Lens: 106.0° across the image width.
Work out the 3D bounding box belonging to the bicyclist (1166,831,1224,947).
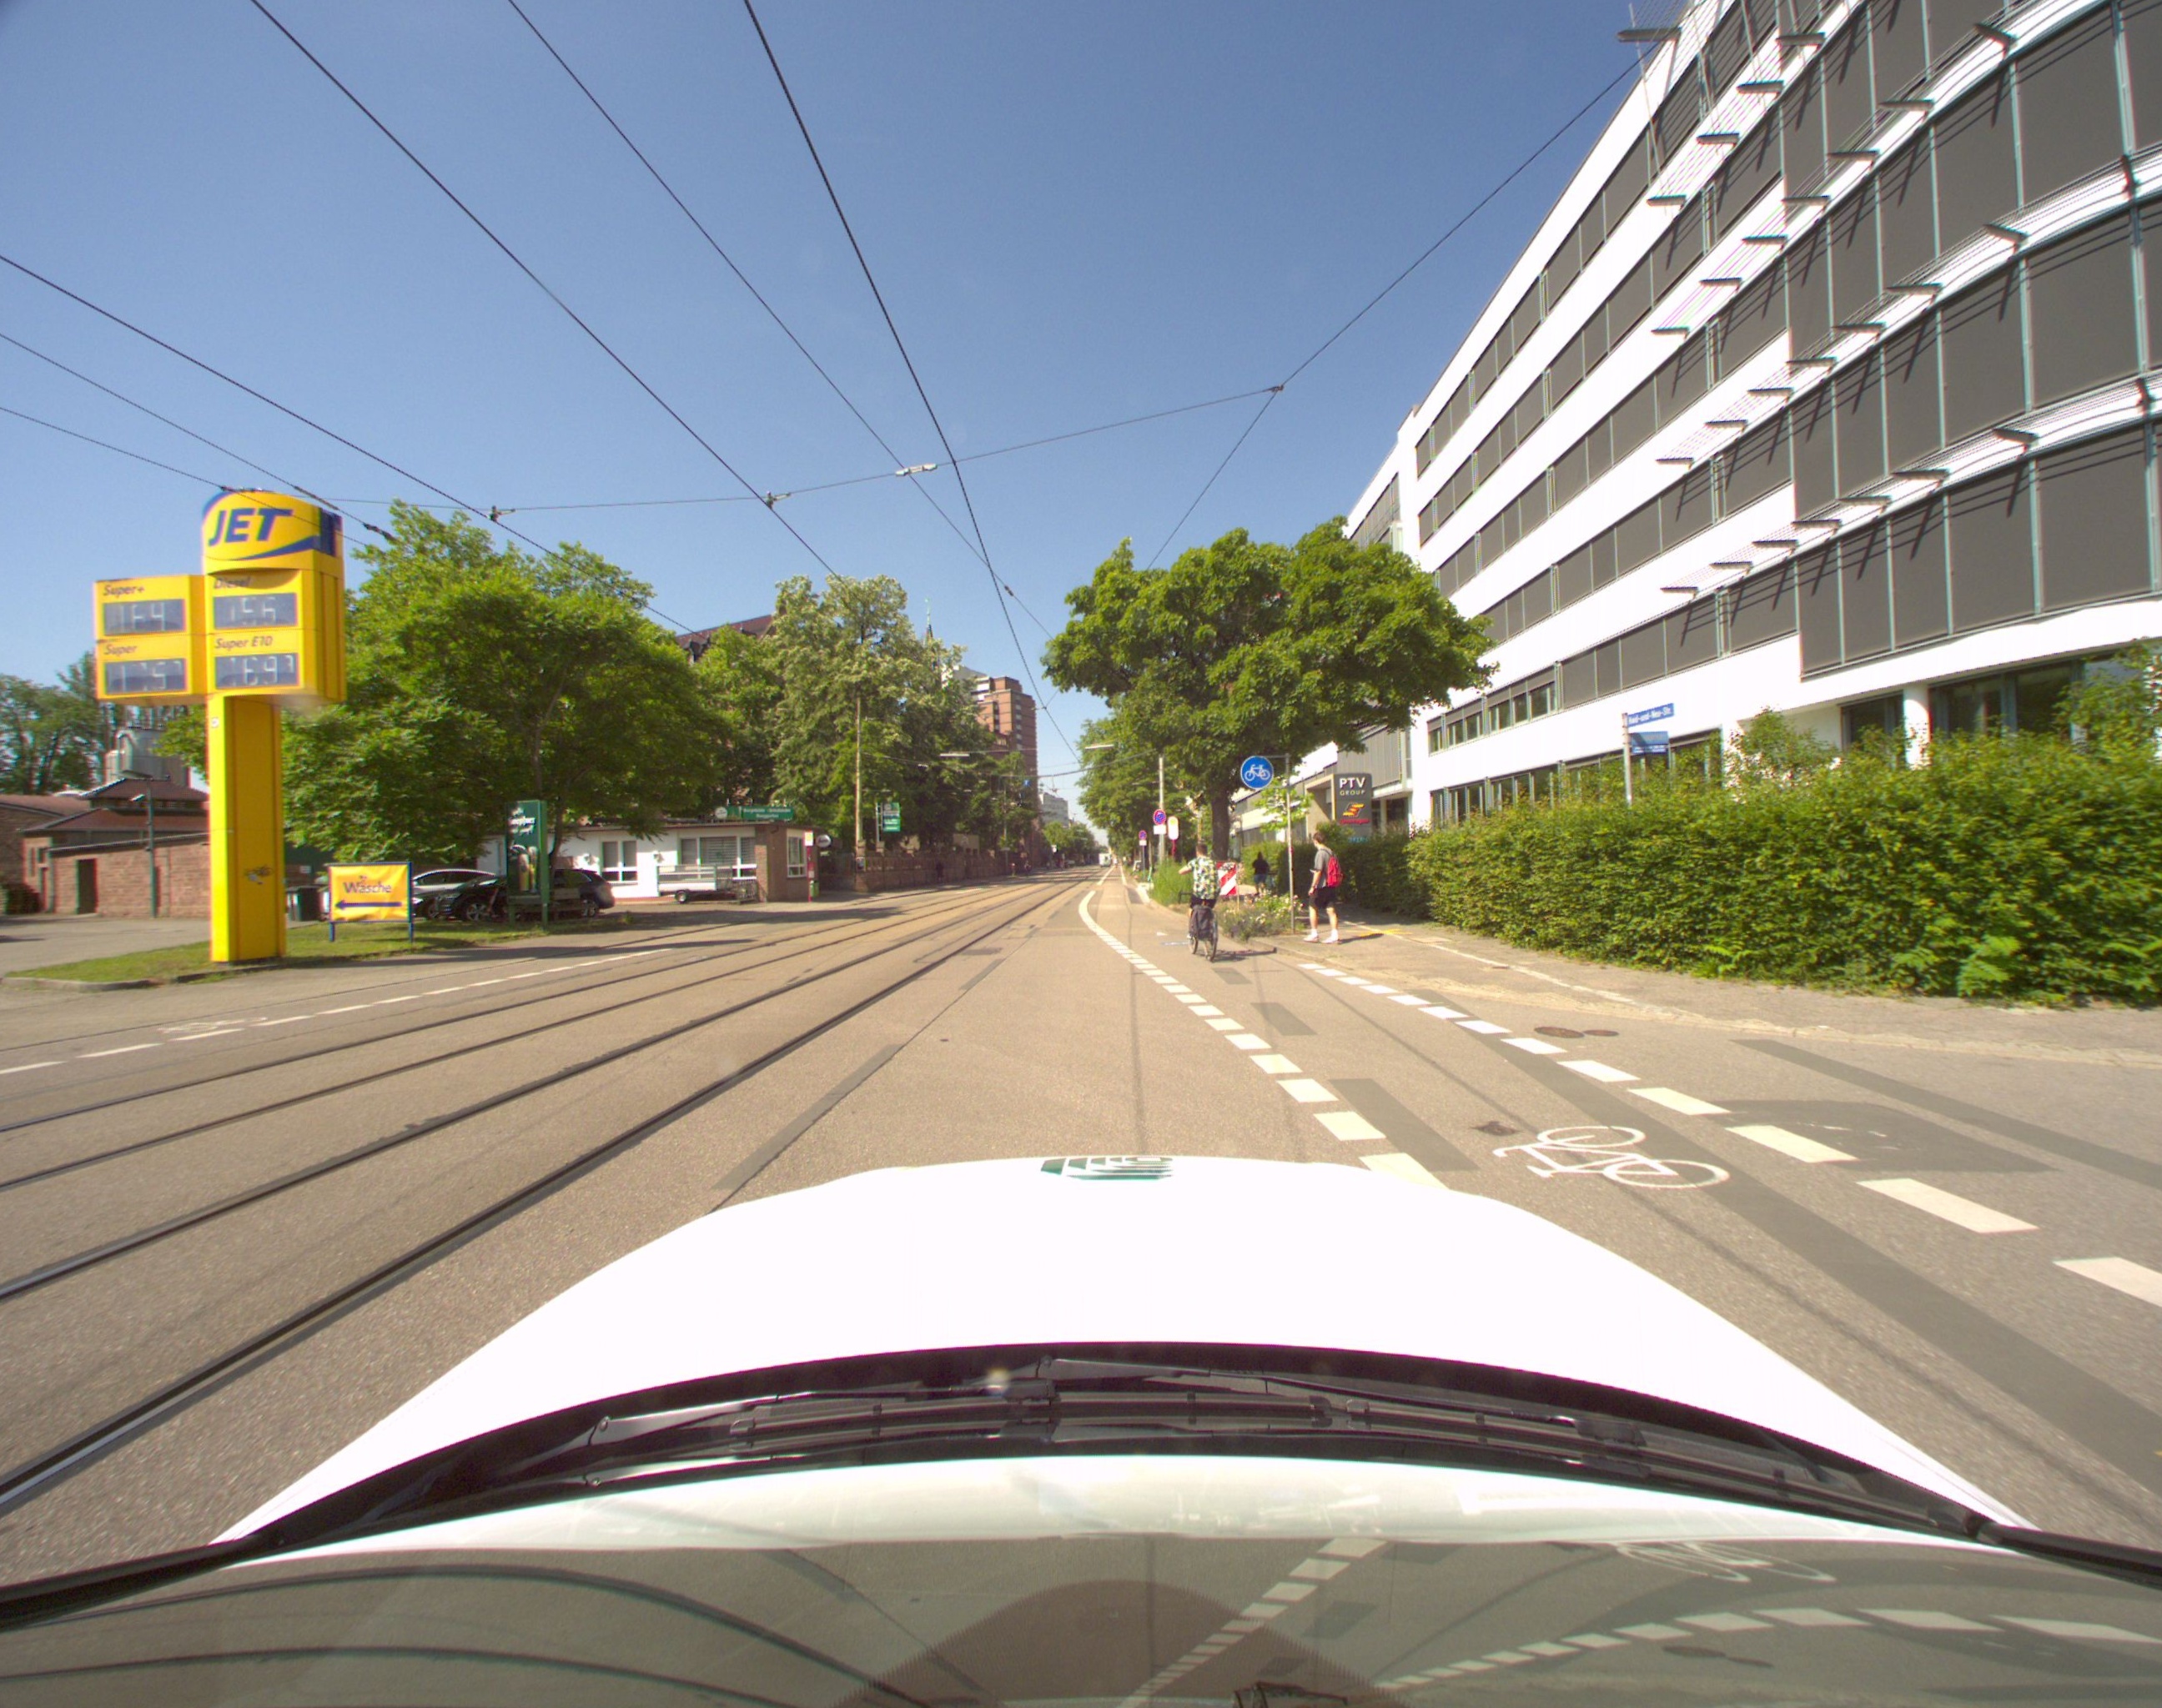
[{"bbox_3d":[1.753,0.525,12.637,0.714,1.724,0.988,-2,-1,0],"label":"bicyclist"}]

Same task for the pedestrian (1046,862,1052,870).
[{"bbox_3d":[-5.861,2.240,150.315,0.882,1.512,1.472,-2,-1,-6],"label":"pedestrian"}]

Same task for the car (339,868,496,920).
[{"bbox_3d":[-22.627,1.305,27.850,4.023,1.557,1.824,-1,-1,-44],"label":"car"}]

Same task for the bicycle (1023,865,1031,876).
[{"bbox_3d":[-5.809,1.754,87.665,0.589,1.105,2.055,-2,0,3],"label":"bicycle"}]

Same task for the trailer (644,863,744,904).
[{"bbox_3d":[-16.035,1.201,33.838,3.260,1.603,1.725,-1,-1,3],"label":"trailer"}]

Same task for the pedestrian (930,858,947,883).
[{"bbox_3d":[-10.632,1.251,60.903,0.972,1.816,1.185,-2,-1,2],"label":"pedestrian"}]

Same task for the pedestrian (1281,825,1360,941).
[{"bbox_3d":[3.936,0.458,13.485,0.888,1.818,1.071,-1,-1,-5],"label":"pedestrian"}]

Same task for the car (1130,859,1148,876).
[{"bbox_3d":[5.463,1.251,76.493,1.623,1.472,3.633,-2,0,3],"label":"car"}]

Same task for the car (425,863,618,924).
[{"bbox_3d":[-17.393,1.161,25.483,4.686,1.641,1.995,-1,-1,-44],"label":"car"}]

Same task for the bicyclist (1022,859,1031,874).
[{"bbox_3d":[-5.862,1.350,87.755,0.737,1.531,0.948,-2,-1,2],"label":"bicyclist"}]

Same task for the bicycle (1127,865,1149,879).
[{"bbox_3d":[4.961,1.590,71.226,1.842,1.132,0.680,-2,-1,1],"label":"bicycle"}]

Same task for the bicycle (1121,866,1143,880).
[{"bbox_3d":[4.122,1.568,66.210,1.718,1.086,0.789,-2,-1,1],"label":"bicycle"}]

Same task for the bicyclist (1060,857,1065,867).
[{"bbox_3d":[-3.281,1.453,144.447,0.722,1.698,1.147,-2,-1,2],"label":"bicyclist"}]

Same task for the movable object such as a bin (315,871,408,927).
[{"bbox_3d":[-20.706,1.283,23.474,1.410,1.502,1.381,-2,-1,5],"label":"movable object such as a bin"}]

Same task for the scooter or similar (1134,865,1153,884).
[{"bbox_3d":[4.032,1.300,52.545,1.120,1.166,0.676,-2,-1,4],"label":"scooter or similar"}]

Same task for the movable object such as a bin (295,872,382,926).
[{"bbox_3d":[-22.328,1.342,24.519,1.406,1.502,1.386,-2,-1,18],"label":"movable object such as a bin"}]

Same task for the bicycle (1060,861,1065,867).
[{"bbox_3d":[-3.266,1.786,144.478,0.660,1.154,2.015,-2,0,3],"label":"bicycle"}]

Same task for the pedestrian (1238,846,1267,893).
[{"bbox_3d":[5.996,0.546,28.443,0.684,1.563,0.987,-3,-1,-3],"label":"pedestrian"}]

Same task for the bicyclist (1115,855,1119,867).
[{"bbox_3d":[5.720,1.086,129.322,0.633,1.871,1.024,-2,-1,1],"label":"bicyclist"}]

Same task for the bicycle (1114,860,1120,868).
[{"bbox_3d":[5.706,1.565,129.295,0.852,1.110,2.140,-2,0,2],"label":"bicycle"}]

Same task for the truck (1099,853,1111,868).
[{"bbox_3d":[5.021,1.396,170.525,2.393,3.109,6.040,-2,-1,2],"label":"truck"}]

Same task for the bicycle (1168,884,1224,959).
[{"bbox_3d":[1.753,0.997,12.682,0.606,0.984,2.165,-1,0,2],"label":"bicycle"}]

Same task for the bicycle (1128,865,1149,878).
[{"bbox_3d":[4.996,1.511,70.697,1.786,1.086,0.727,-2,-1,1],"label":"bicycle"}]

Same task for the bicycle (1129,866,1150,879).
[{"bbox_3d":[4.999,1.572,69.809,1.718,1.086,0.640,-2,-1,1],"label":"bicycle"}]

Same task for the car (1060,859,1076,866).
[{"bbox_3d":[-3.566,2.329,228.691,4.010,1.750,1.981,-1,-1,-28],"label":"car"}]

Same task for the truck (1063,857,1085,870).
[{"bbox_3d":[-2.228,2.959,256.730,2.787,3.859,10.056,-2,-1,24],"label":"truck"}]

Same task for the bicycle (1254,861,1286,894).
[{"bbox_3d":[6.550,0.798,28.324,0.633,1.117,2.067,-1,-1,1],"label":"bicycle"}]

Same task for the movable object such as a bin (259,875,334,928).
[{"bbox_3d":[-24.235,1.457,25.173,1.312,1.502,1.339,-4,-1,31],"label":"movable object such as a bin"}]
